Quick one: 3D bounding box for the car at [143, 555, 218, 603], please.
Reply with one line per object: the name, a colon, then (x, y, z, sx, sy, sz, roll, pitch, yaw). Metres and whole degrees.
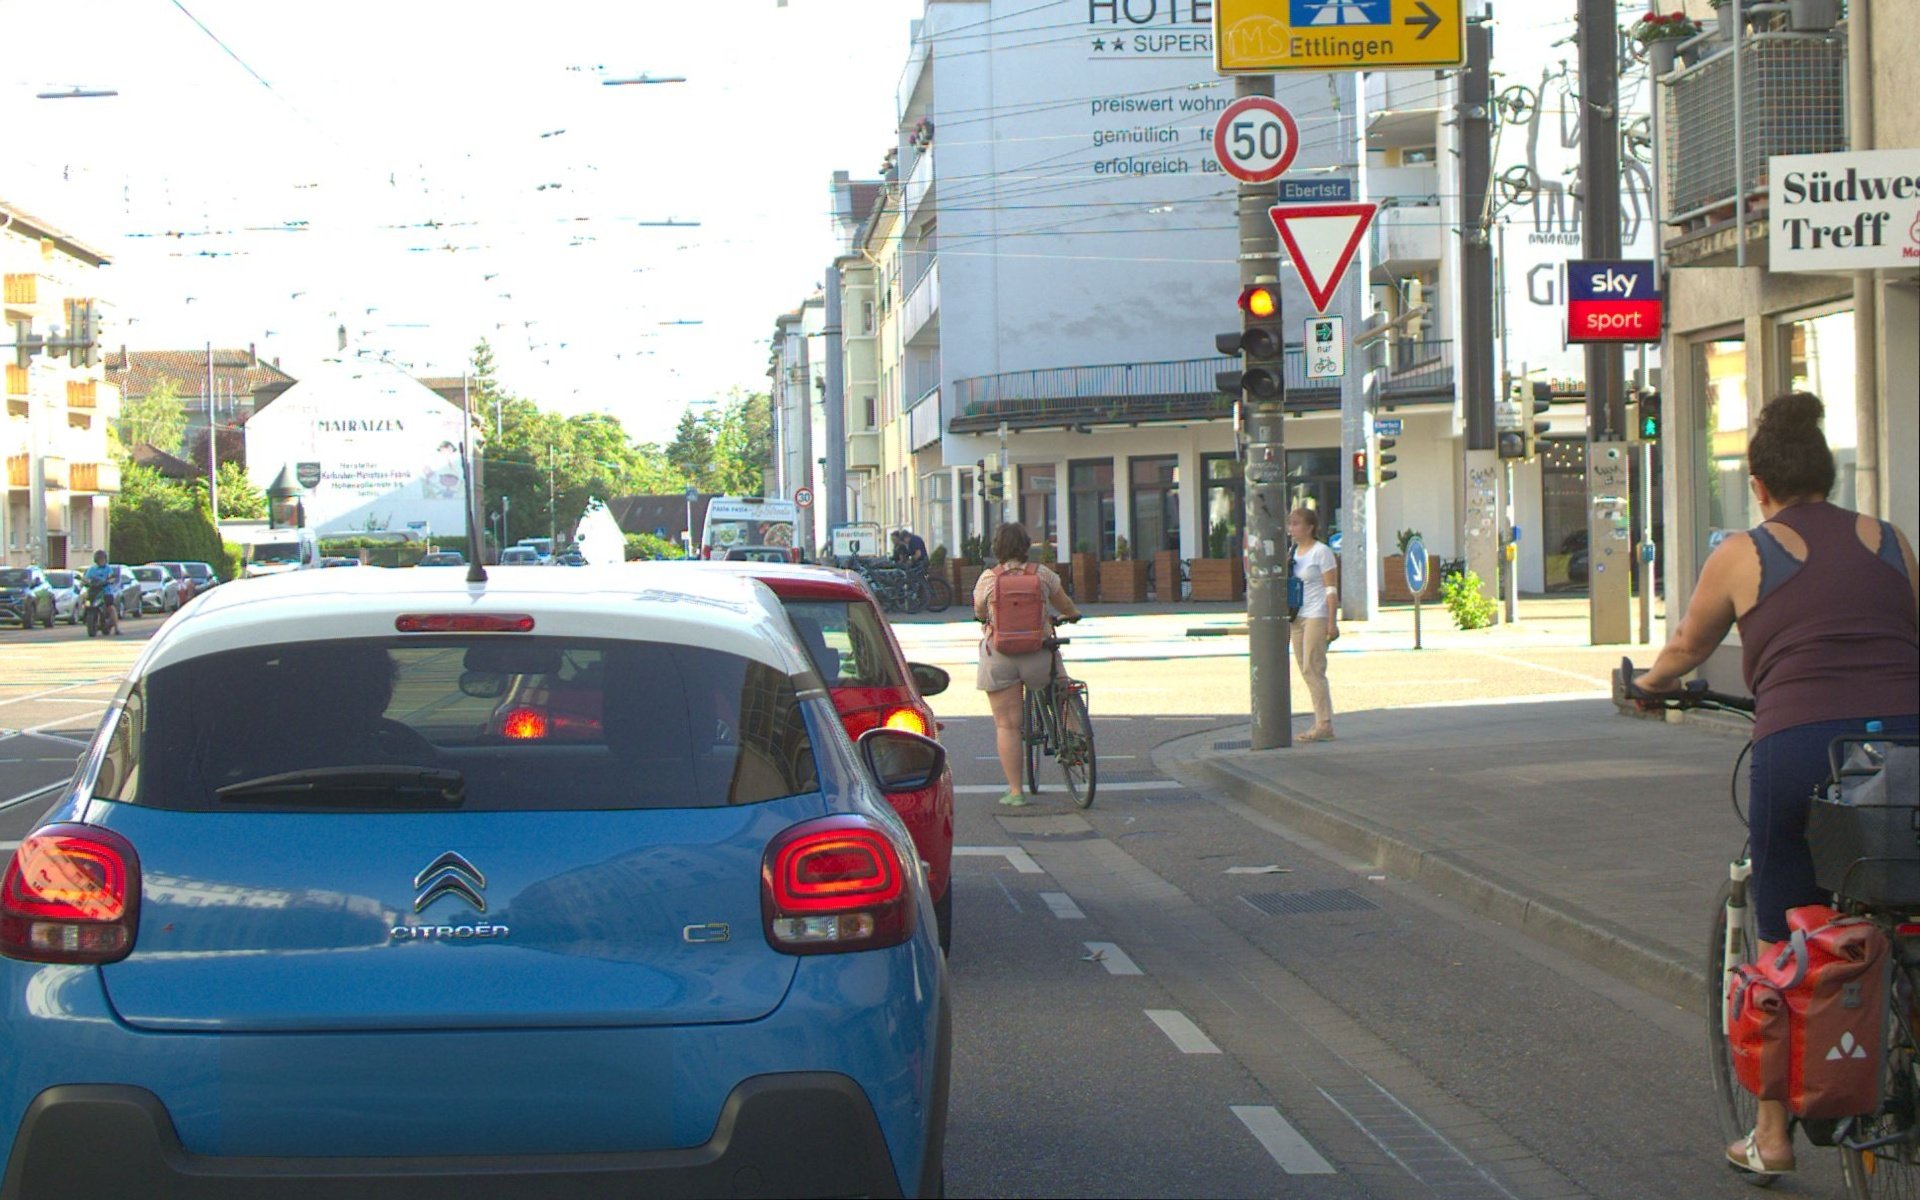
car: (-26.061, -0.713, 114.983, 1.950, 1.514, 4.001, -1, 1, -6)

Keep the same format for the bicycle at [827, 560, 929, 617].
bicycle: (-1.600, -0.233, 67.104, 1.904, 1.061, 0.642, -1, 1, -7)

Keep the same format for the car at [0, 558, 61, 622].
car: (-23.779, -0.260, 85.873, 1.950, 1.514, 4.001, -1, 1, -6)

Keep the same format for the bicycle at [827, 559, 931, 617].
bicycle: (-1.551, -0.239, 65.798, 1.904, 1.061, 0.642, -1, 1, -7)

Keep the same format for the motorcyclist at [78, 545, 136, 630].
motorcyclist: (-16.668, -0.247, 67.196, 0.991, 1.625, 0.739, -1, 1, -9)

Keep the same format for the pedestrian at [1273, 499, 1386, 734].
pedestrian: (2.613, 0.109, 24.358, 0.751, 1.629, 0.740, -1, 1, 6)

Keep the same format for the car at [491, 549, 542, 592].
car: (-22.036, -1.489, 170.825, 2.338, 2.032, 5.051, -1, 1, -6)

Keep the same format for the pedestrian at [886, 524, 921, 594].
pedestrian: (-1.146, -0.842, 70.241, 0.525, 1.415, 0.546, -1, 1, 20)

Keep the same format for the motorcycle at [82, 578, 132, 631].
motorcycle: (-16.687, 0.078, 67.270, 0.751, 0.973, 2.098, -1, 1, -9)

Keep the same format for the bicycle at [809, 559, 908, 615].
bicycle: (-2.019, -0.270, 68.296, 1.904, 1.061, 0.642, -1, 1, -7)

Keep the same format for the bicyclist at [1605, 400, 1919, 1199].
bicyclist: (1.774, 0.407, 7.291, 0.616, 1.624, 0.760, -1, 1, -2)

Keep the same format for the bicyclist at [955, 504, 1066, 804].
bicyclist: (0.296, 0.305, 20.583, 0.600, 1.740, 1.084, -1, 1, -1)

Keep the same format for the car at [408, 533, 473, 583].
car: (-17.593, -1.452, 116.586, 2.004, 1.622, 5.054, -1, 1, -7)

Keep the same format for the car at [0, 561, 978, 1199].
car: (-0.954, 0.670, 7.358, 1.680, 1.457, 4.001, 0, 1, -4)

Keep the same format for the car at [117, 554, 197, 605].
car: (-25.351, -0.664, 108.641, 1.950, 1.514, 4.001, -1, 1, -6)

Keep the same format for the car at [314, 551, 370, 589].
car: (-25.968, -1.270, 144.553, 1.950, 1.514, 4.001, -1, 1, -6)

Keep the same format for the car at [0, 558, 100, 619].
car: (-24.299, -0.328, 91.931, 1.950, 1.514, 4.001, -1, 1, -6)

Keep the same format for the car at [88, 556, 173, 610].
car: (-24.918, -0.534, 103.362, 1.950, 1.514, 4.001, -1, 1, -6)

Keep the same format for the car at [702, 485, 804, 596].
car: (-4.426, -1.273, 73.224, 2.079, 2.262, 5.652, 0, 1, -4)

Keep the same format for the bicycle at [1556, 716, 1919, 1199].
bicycle: (1.782, 0.855, 7.315, 0.616, 1.099, 1.886, -1, 1, -2)

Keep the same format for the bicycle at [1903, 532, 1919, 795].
bicycle: (4.919, 0.314, 15.736, 0.640, 1.260, 1.911, -1, 1, -1)

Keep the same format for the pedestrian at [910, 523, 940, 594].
pedestrian: (-0.713, -0.844, 69.990, 0.467, 1.415, 0.527, -1, 1, -13)

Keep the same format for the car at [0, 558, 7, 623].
car: (-23.314, -0.187, 79.209, 1.950, 1.514, 4.001, -1, 1, -6)

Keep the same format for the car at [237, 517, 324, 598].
car: (-23.654, -1.495, 119.919, 2.493, 2.703, 5.839, -1, 1, -7)

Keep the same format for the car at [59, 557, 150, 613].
car: (-24.451, -0.450, 98.358, 1.950, 1.514, 4.001, -1, 1, -6)

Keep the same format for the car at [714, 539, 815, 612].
car: (-3.875, -0.511, 67.788, 1.786, 1.354, 3.915, -1, 1, -6)

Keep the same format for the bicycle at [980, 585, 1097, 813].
bicycle: (0.453, 0.561, 20.625, 0.613, 1.260, 1.911, -1, 1, -1)

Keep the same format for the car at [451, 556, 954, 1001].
car: (-1.000, 0.579, 13.568, 1.680, 1.457, 4.001, 0, 1, -4)
